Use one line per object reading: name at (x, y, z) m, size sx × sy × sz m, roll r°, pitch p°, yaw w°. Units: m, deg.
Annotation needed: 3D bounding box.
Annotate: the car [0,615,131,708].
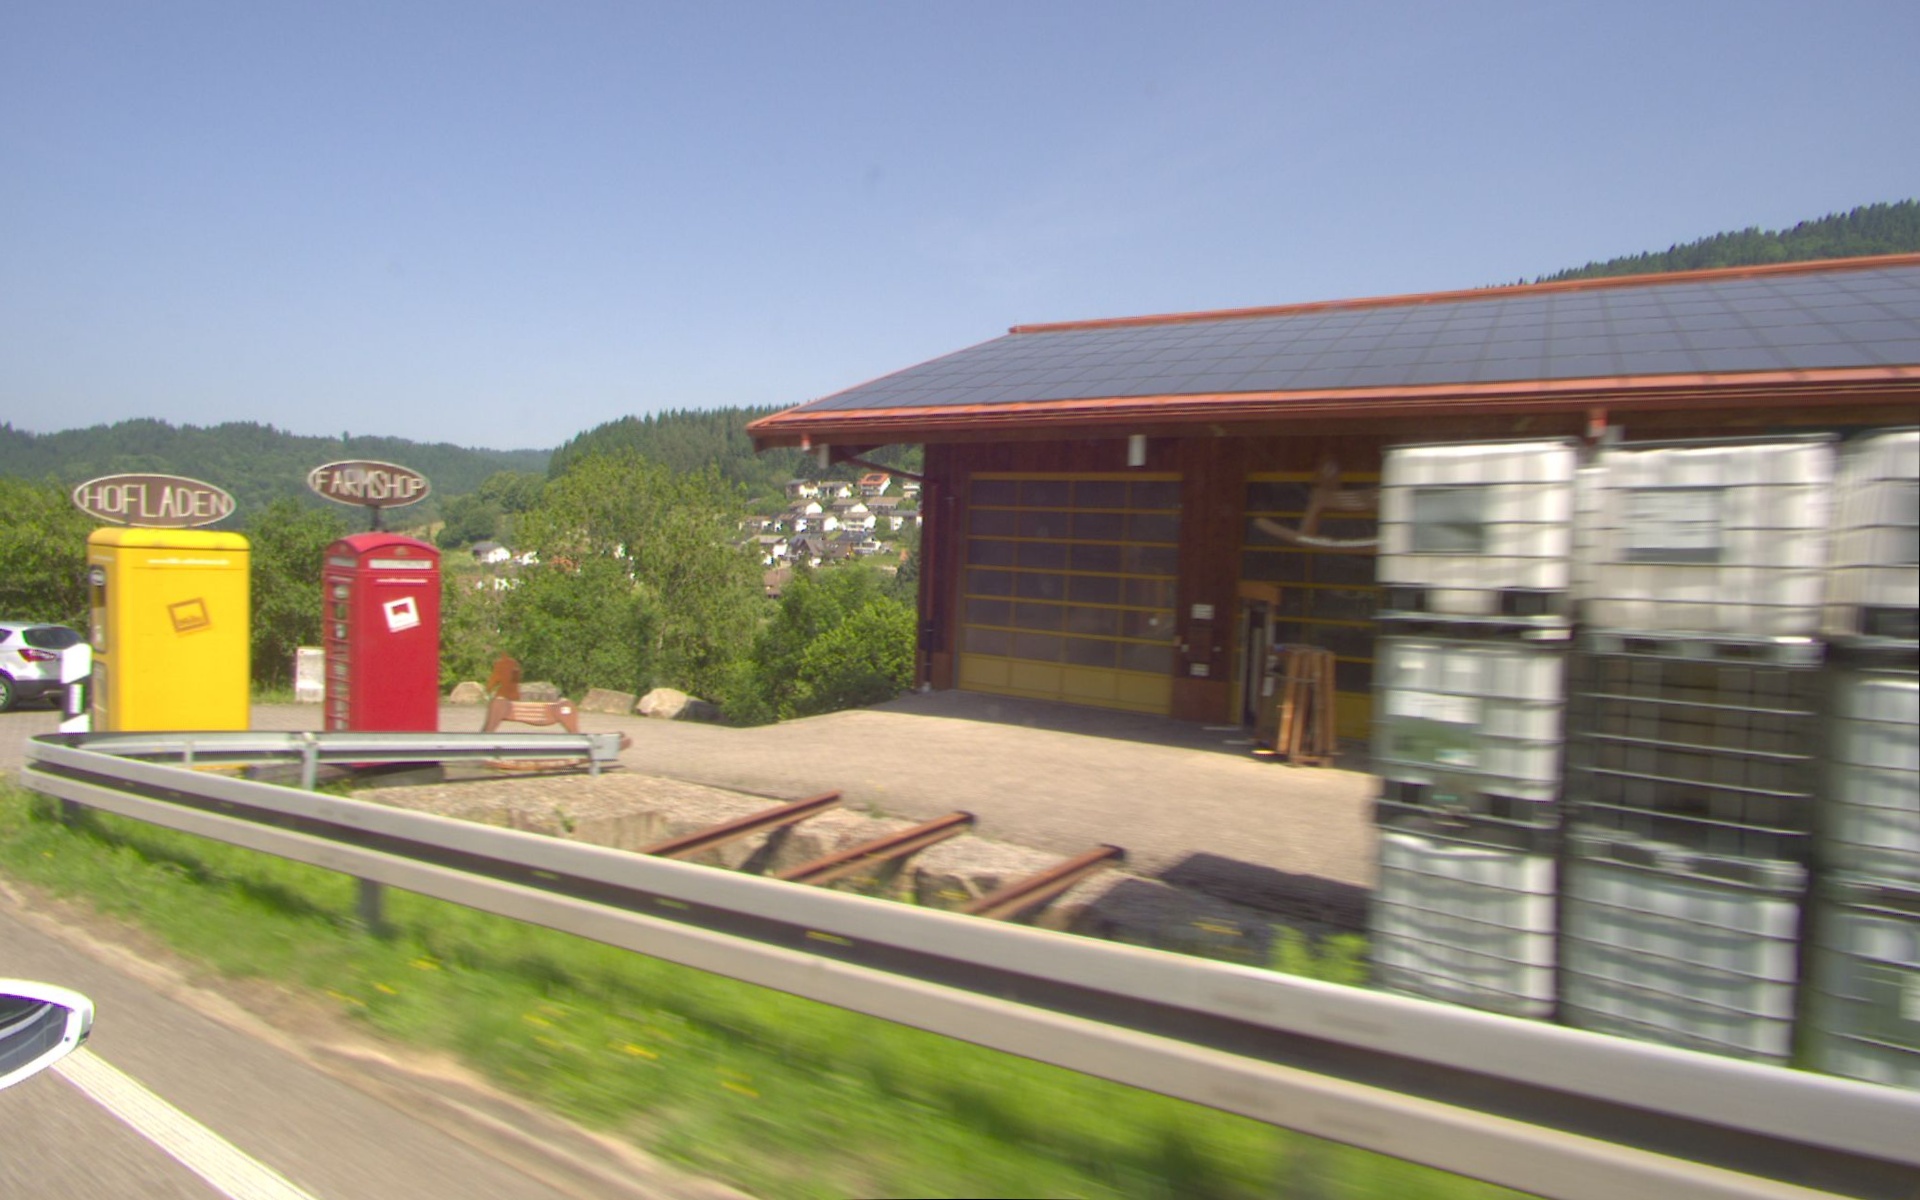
car at (-18.076, 1.047, 18.145) m, size 4.376 × 1.591 × 1.906 m, roll 2°, pitch -2°, yaw -4°
